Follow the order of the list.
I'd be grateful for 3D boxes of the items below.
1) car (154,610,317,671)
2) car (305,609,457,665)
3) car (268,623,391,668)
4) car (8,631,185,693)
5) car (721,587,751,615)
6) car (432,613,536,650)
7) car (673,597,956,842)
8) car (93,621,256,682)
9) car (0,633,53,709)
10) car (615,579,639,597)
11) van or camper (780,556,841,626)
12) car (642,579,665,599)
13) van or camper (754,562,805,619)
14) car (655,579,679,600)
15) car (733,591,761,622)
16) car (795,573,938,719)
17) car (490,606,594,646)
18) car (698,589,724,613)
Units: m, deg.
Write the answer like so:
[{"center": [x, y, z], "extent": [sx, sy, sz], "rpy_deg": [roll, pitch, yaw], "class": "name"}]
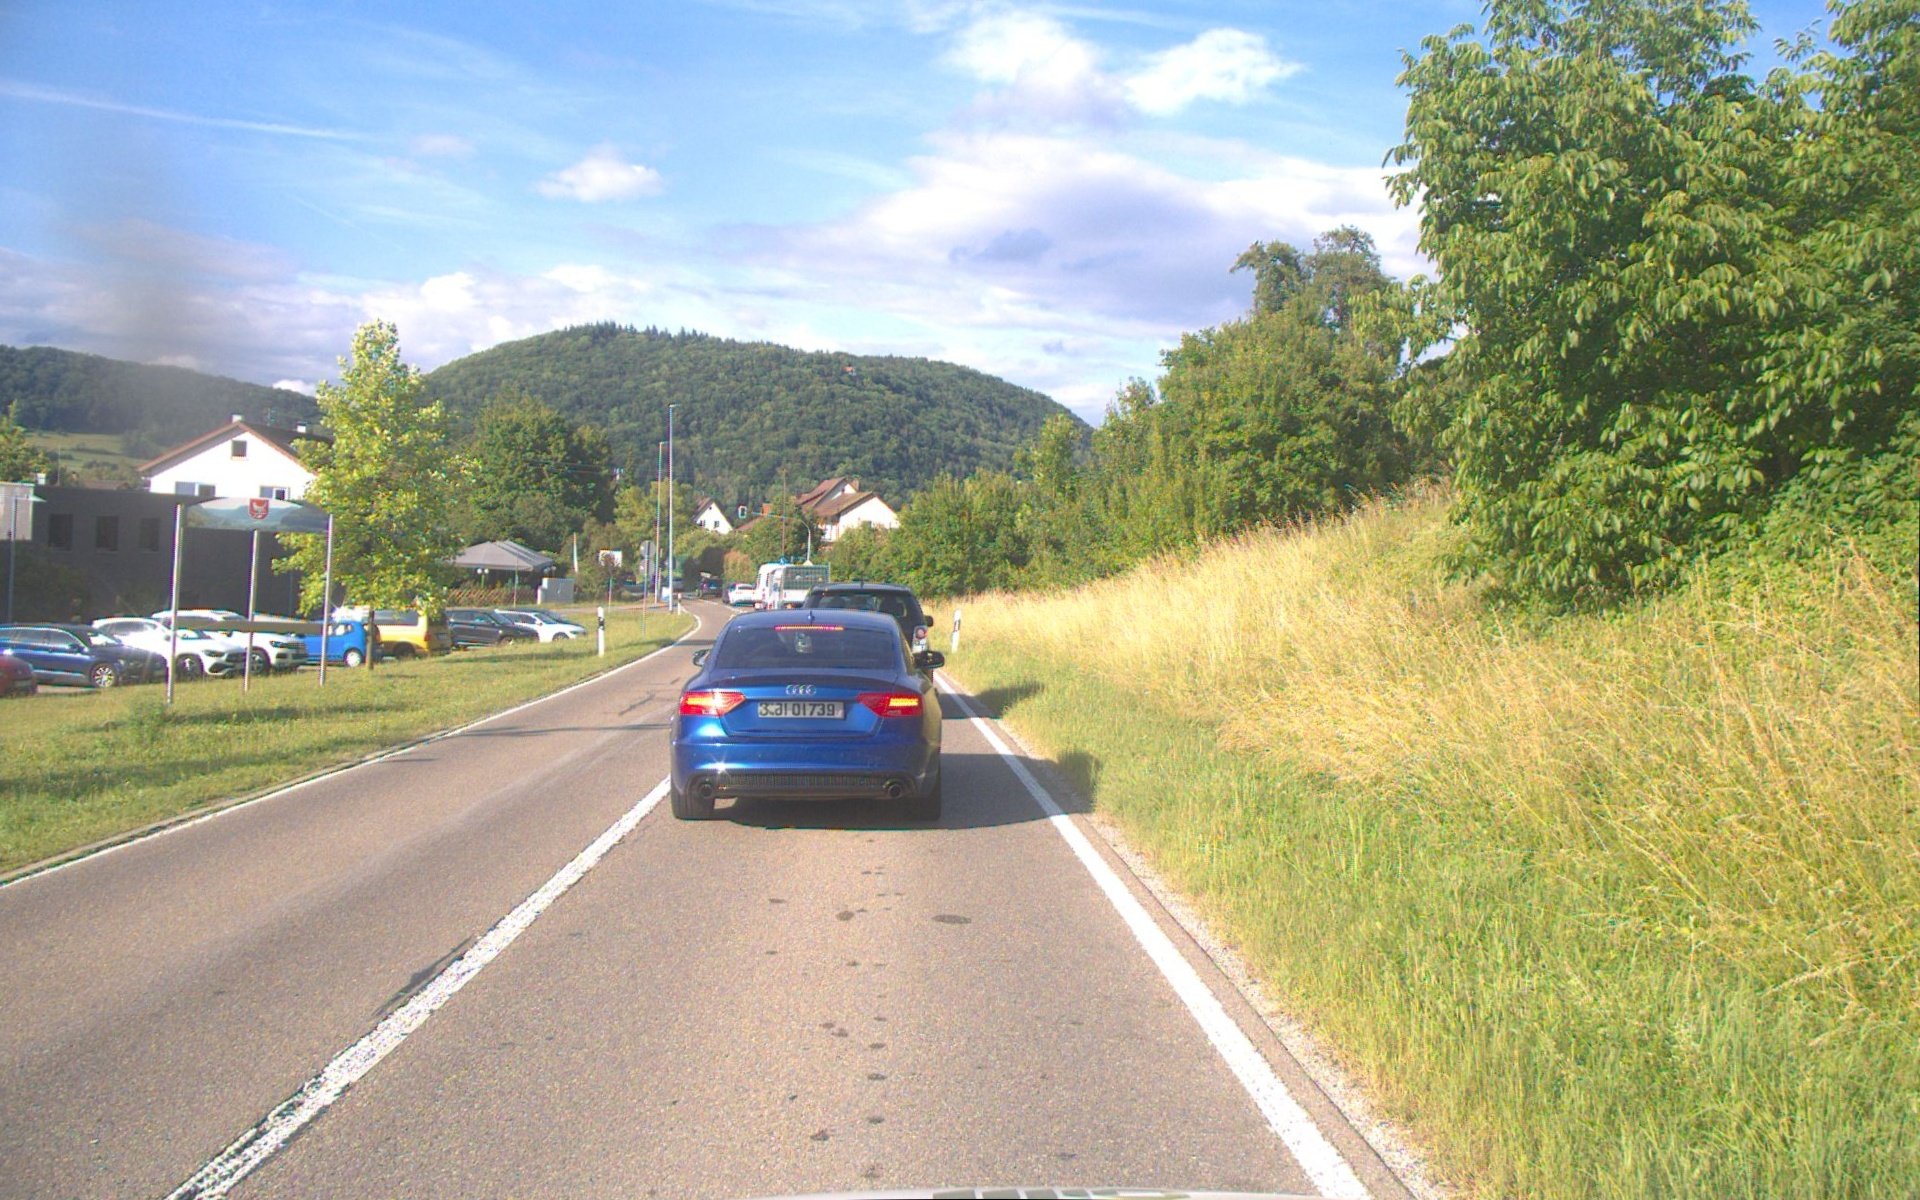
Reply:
[{"center": [-20.639, 1.147, 47.156], "extent": [3.990, 1.702, 1.598], "rpy_deg": [0, 0, 8], "class": "car"}, {"center": [-19.450, 1.238, 55.629], "extent": [4.456, 1.846, 1.842], "rpy_deg": [0, 0, 8], "class": "car"}, {"center": [-20.212, 1.435, 53.117], "extent": [3.300, 1.397, 1.660], "rpy_deg": [0, 0, 0], "class": "car"}, {"center": [-21.135, 1.502, 40.547], "extent": [3.547, 1.429, 1.598], "rpy_deg": [0, 1, 8], "class": "car"}, {"center": [-15.675, 0.069, 115.599], "extent": [1.632, 1.958, 3.984], "rpy_deg": [0, 0, -14], "class": "car"}, {"center": [-18.863, 1.247, 65.613], "extent": [3.633, 1.465, 1.510], "rpy_deg": [0, 0, 8], "class": "car"}, {"center": [-0.968, 0.728, 11.793], "extent": [1.708, 1.476, 3.514], "rpy_deg": [0, 0, -3], "class": "car"}, {"center": [-20.745, 1.342, 43.723], "extent": [3.588, 1.520, 1.598], "rpy_deg": [0, 1, 8], "class": "car"}, {"center": [-21.723, 1.477, 35.628], "extent": [3.547, 1.469, 1.650], "rpy_deg": [1, 1, 8], "class": "car"}, {"center": [-36.763, -1.269, 182.722], "extent": [1.927, 1.958, 3.973], "rpy_deg": [0, 0, -22], "class": "car"}, {"center": [-5.819, -0.327, 63.743], "extent": [2.014, 2.549, 5.800], "rpy_deg": [0, 0, -9], "class": "van or camper"}, {"center": [-31.192, -1.122, 168.415], "extent": [1.653, 1.958, 3.975], "rpy_deg": [0, 0, -21], "class": "car"}, {"center": [-9.094, -0.455, 82.862], "extent": [2.239, 2.761, 5.754], "rpy_deg": [0, 0, -9], "class": "van or camper"}, {"center": [-27.723, -1.012, 156.530], "extent": [1.651, 1.958, 3.978], "rpy_deg": [0, 0, -19], "class": "car"}, {"center": [-13.914, 0.398, 107.829], "extent": [1.629, 1.958, 3.991], "rpy_deg": [0, 0, -10], "class": "car"}, {"center": [-1.216, 0.532, 20.971], "extent": [1.613, 1.653, 3.513], "rpy_deg": [2, 0, -5], "class": "car"}, {"center": [-17.708, 1.093, 70.162], "extent": [3.949, 1.689, 1.657], "rpy_deg": [0, 0, 8], "class": "car"}, {"center": [-20.854, 0.054, 138.390], "extent": [1.650, 1.958, 3.982], "rpy_deg": [0, 0, -16], "class": "car"}]
